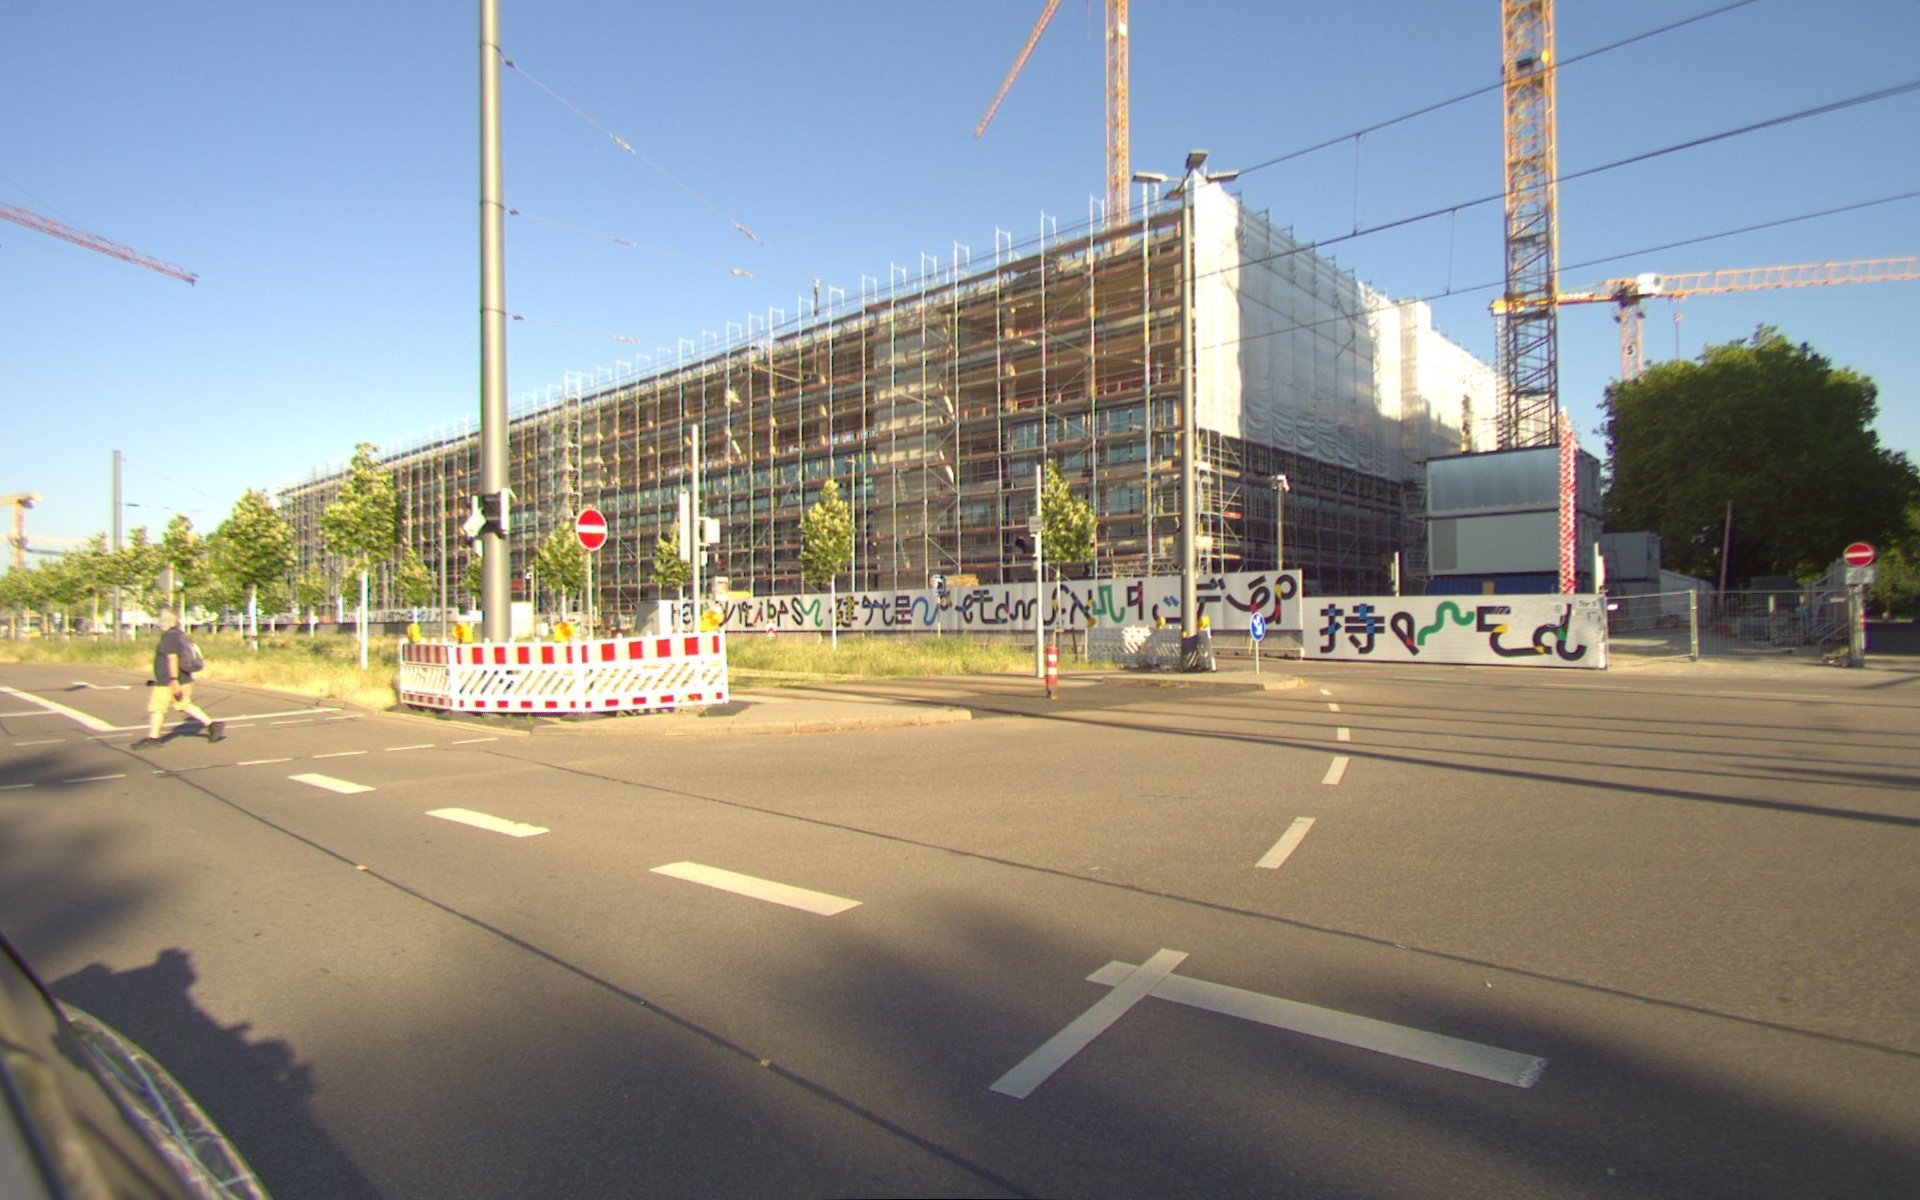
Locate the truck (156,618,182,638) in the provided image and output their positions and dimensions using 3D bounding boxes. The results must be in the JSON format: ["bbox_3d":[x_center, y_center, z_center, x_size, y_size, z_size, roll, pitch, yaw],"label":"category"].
[{"bbox_3d":[-109.466,3.869,140.031,4.740,2.593,2.114,-2,-2,43],"label":"truck"}]

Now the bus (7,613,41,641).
[{"bbox_3d":[-110.606,3.184,119.517,2.686,3.247,8.660,0,-2,-45],"label":"bus"}]

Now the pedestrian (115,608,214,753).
[{"bbox_3d":[-9.601,0.930,12.223,0.912,1.661,0.767,0,-1,-39],"label":"pedestrian"}]
